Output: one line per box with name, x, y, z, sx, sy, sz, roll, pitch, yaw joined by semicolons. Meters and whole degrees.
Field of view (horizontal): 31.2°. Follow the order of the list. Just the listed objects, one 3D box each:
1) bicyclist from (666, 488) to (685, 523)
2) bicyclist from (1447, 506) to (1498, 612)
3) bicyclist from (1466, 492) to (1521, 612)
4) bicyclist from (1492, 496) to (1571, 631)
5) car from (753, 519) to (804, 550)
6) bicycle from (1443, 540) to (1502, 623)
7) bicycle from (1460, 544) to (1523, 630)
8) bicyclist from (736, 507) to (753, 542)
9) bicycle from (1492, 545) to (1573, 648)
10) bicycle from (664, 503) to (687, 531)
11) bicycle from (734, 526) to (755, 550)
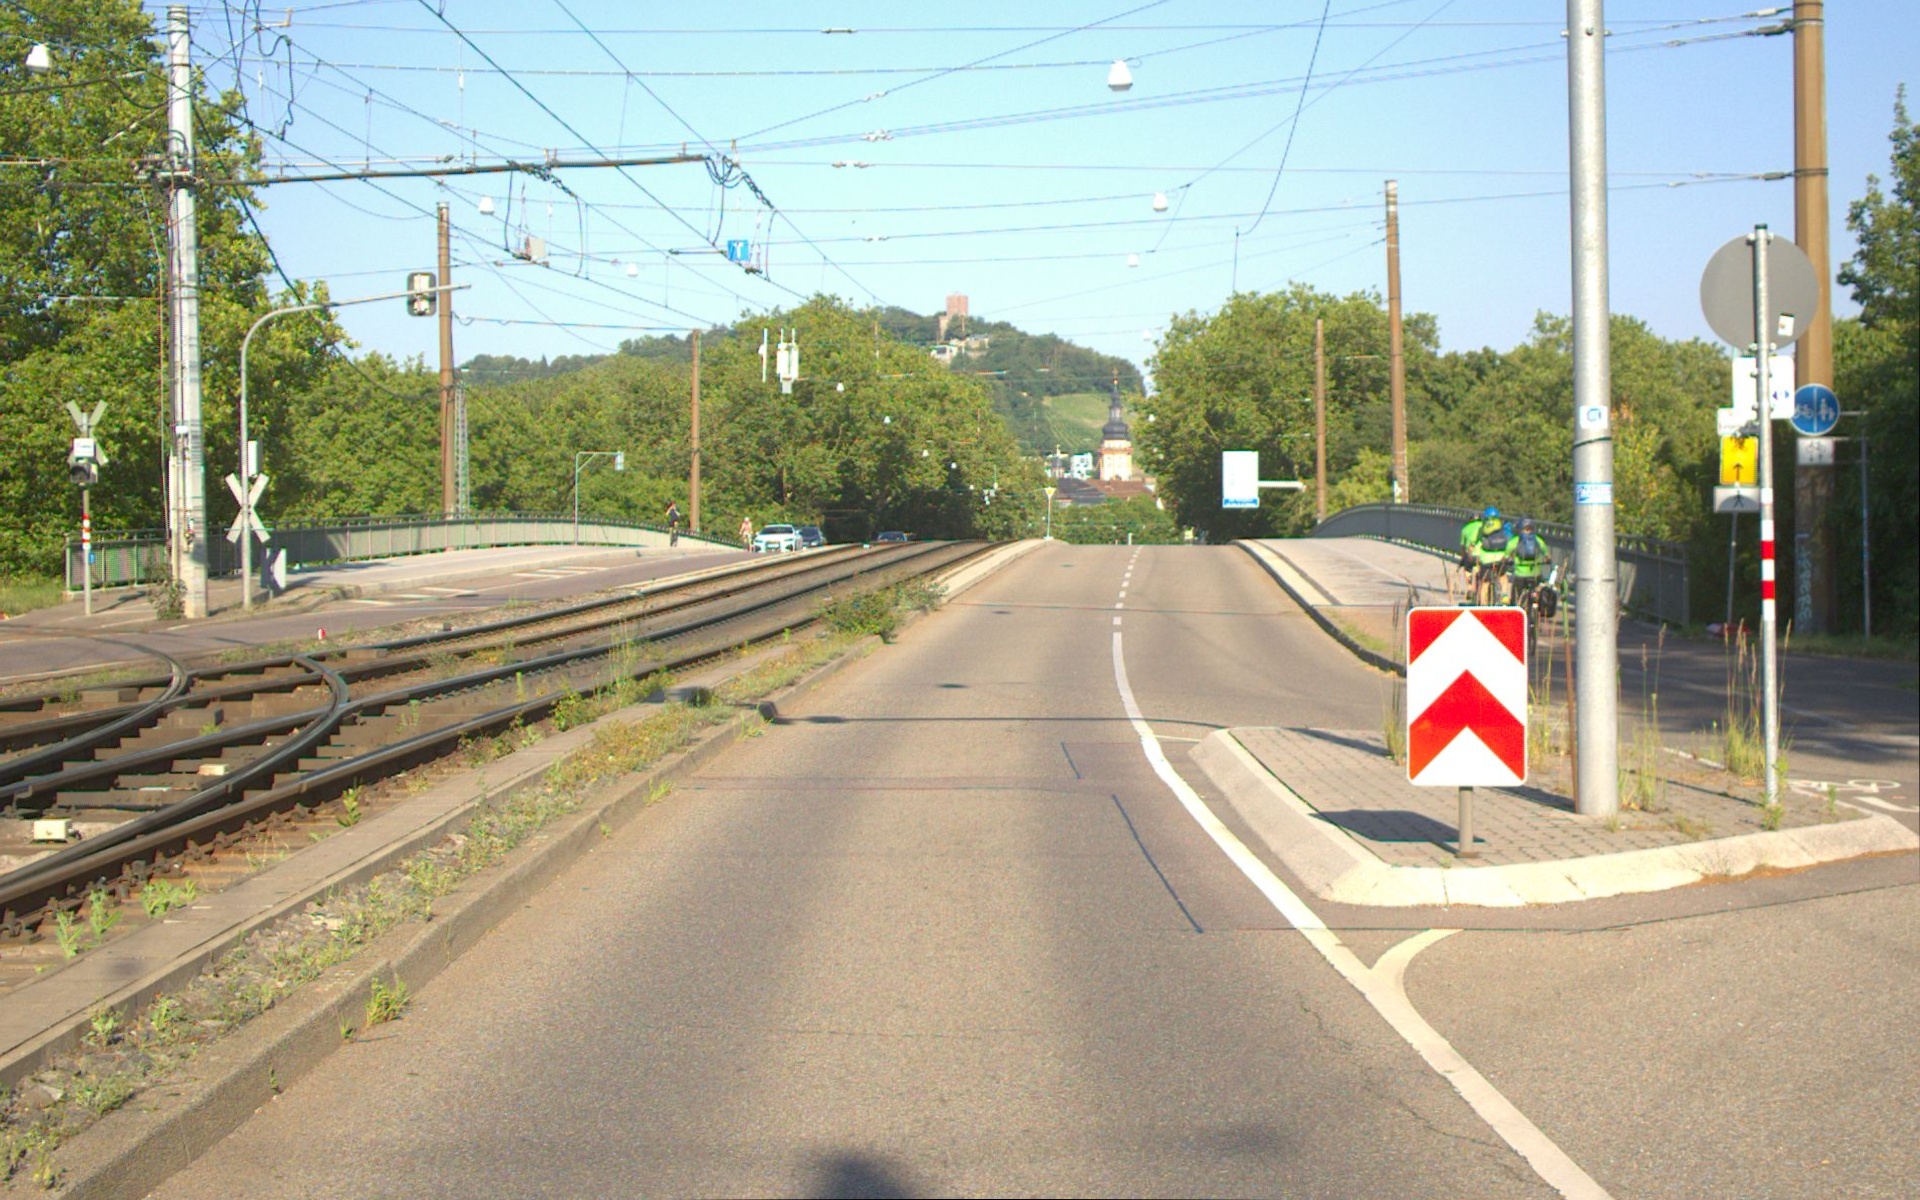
bicyclist;-11.674;-3.866;141.159;0.625;1.427;0.968;0;1;4
bicyclist;7.300;-0.591;48.977;0.625;1.503;1.006;0;1;3
bicyclist;7.109;-0.642;45.814;0.625;1.587;0.931;0;1;3
bicyclist;6.704;-0.436;40.345;0.812;1.557;0.896;0;2;3
car;-7.919;-2.868;150.337;1.684;1.351;4.920;0;1;3
bicycle;7.295;-0.277;48.997;0.625;1.118;2.259;0;2;3
bicycle;7.070;-0.188;45.807;0.625;1.118;2.042;0;1;3
bicyclist;-10.279;-3.607;164.025;0.625;1.627;0.935;0;1;7
bicycle;6.714;-0.055;40.377;0.683;1.118;2.216;0;2;3
bicycle;-11.677;-3.394;141.129;0.625;1.118;2.259;0;1;4
bicycle;-10.278;-2.960;164.035;0.625;1.118;2.259;0;1;7
